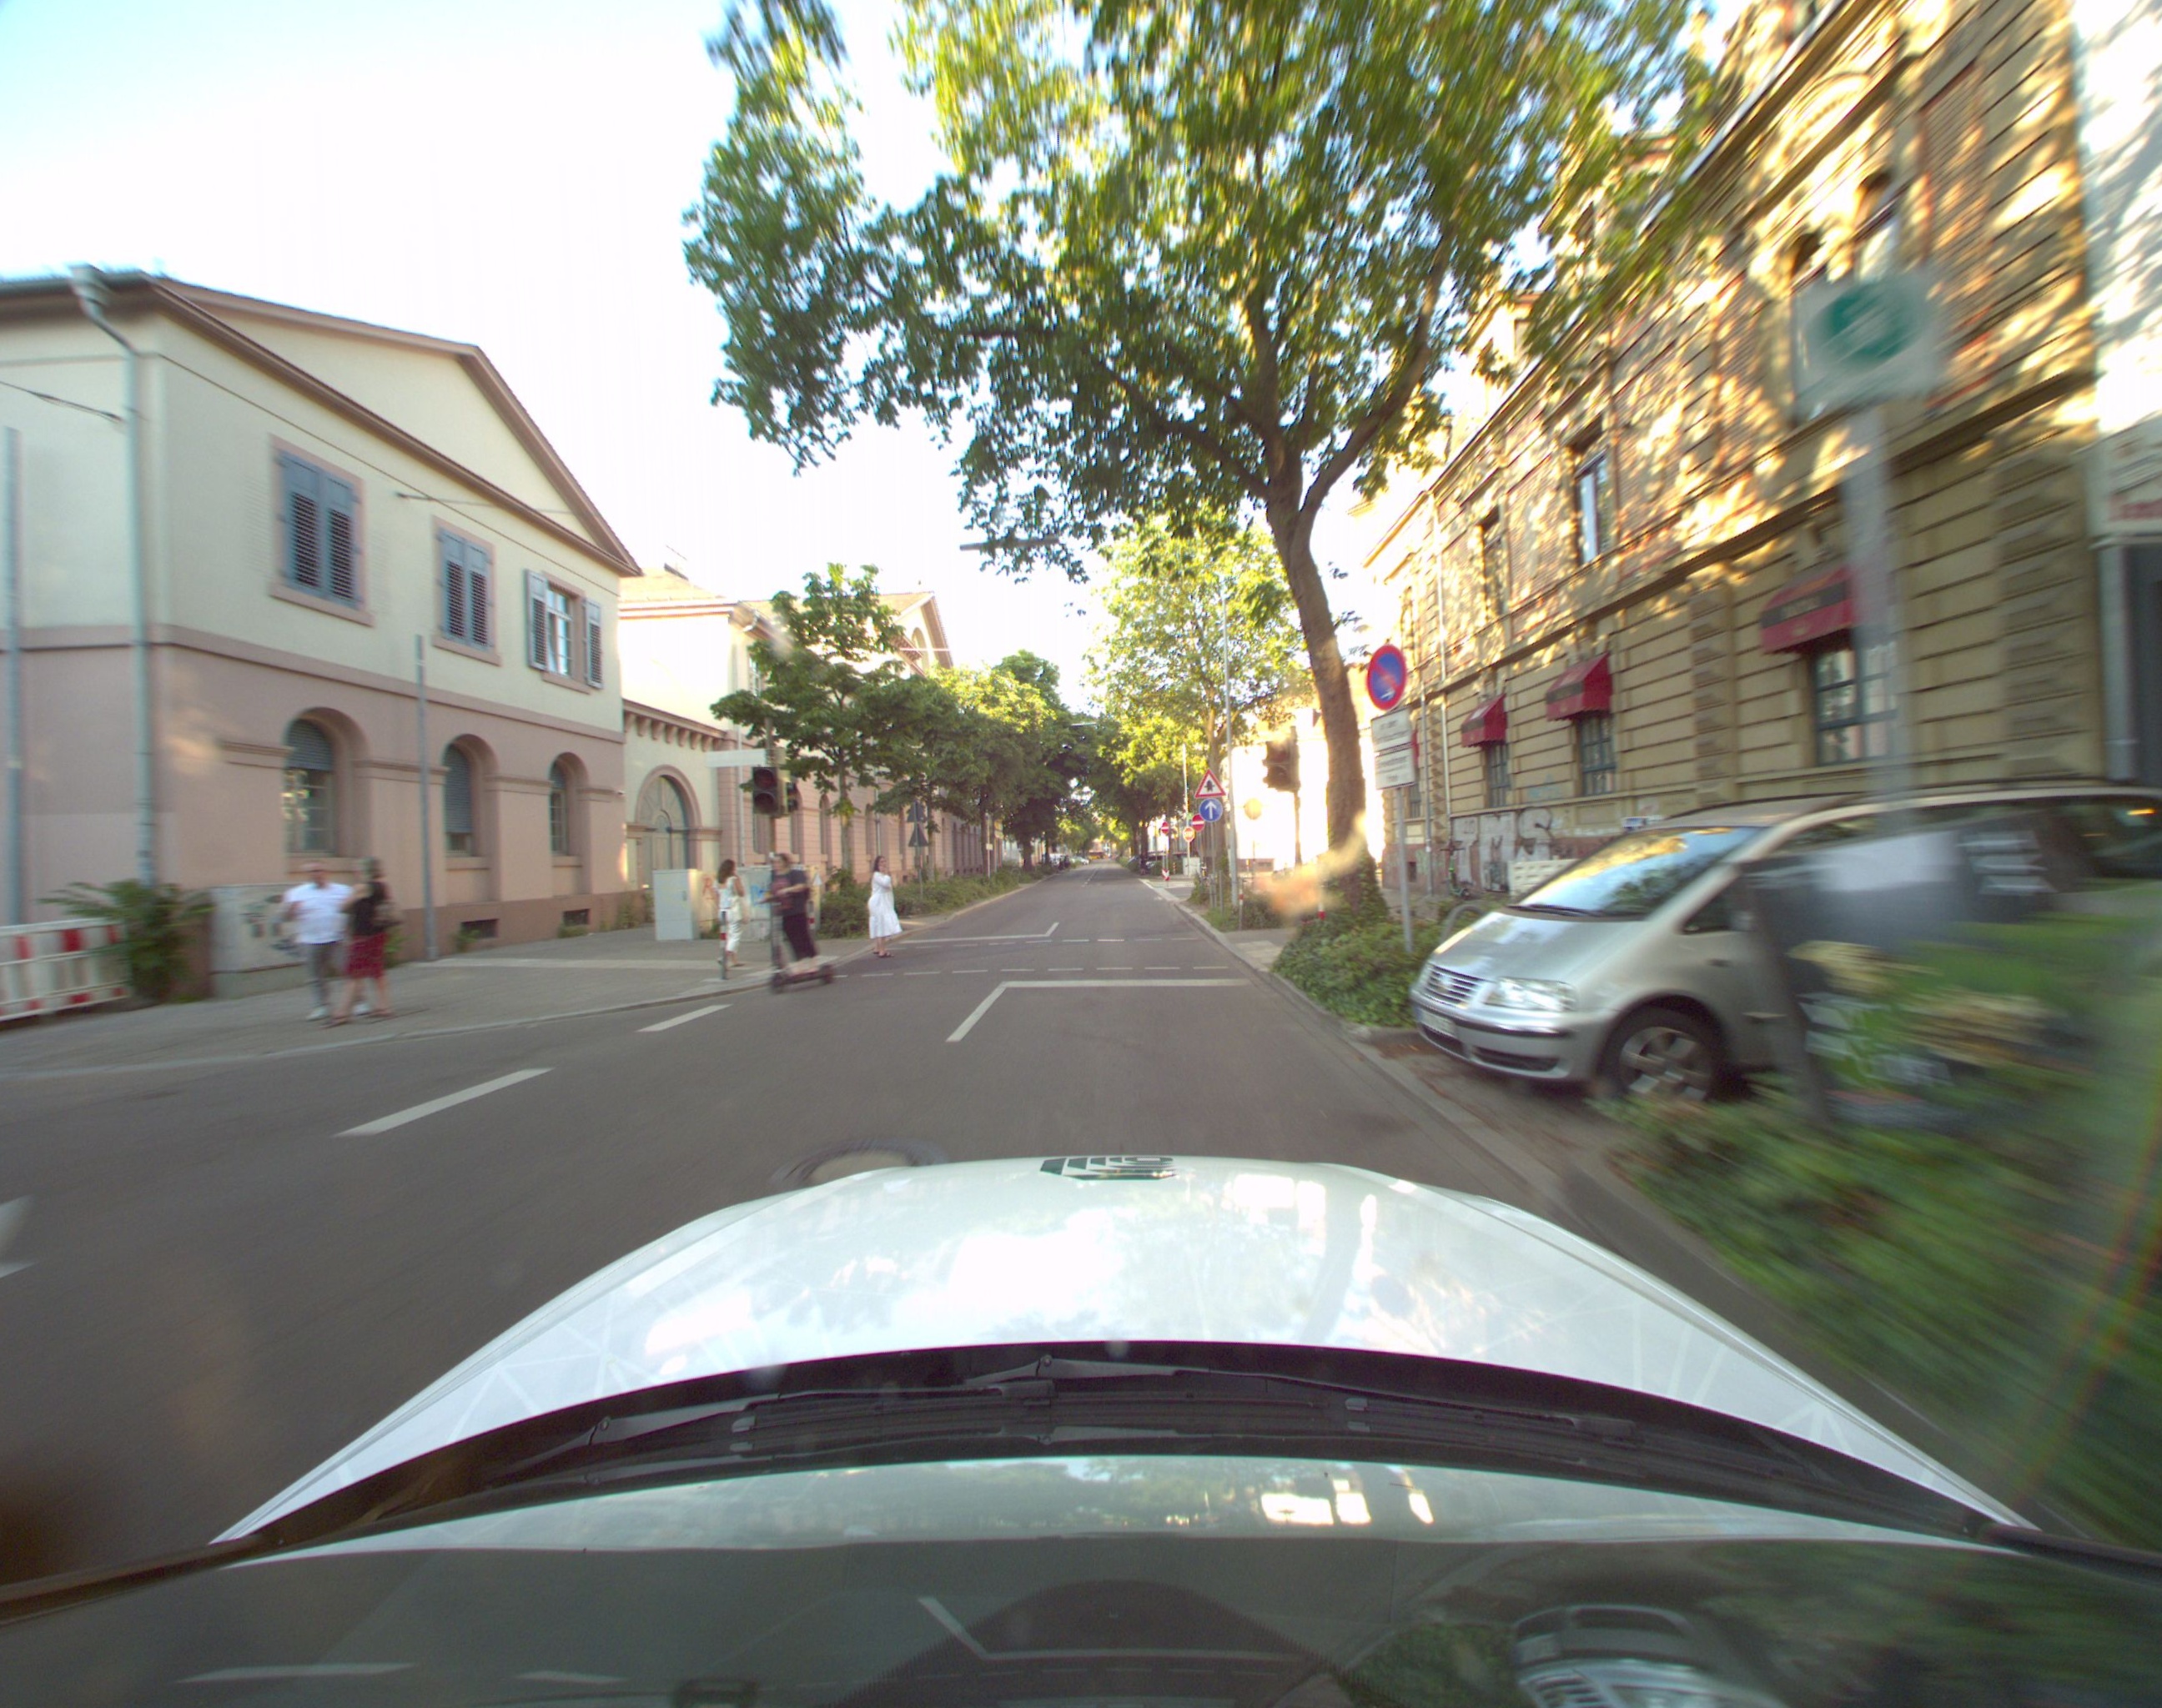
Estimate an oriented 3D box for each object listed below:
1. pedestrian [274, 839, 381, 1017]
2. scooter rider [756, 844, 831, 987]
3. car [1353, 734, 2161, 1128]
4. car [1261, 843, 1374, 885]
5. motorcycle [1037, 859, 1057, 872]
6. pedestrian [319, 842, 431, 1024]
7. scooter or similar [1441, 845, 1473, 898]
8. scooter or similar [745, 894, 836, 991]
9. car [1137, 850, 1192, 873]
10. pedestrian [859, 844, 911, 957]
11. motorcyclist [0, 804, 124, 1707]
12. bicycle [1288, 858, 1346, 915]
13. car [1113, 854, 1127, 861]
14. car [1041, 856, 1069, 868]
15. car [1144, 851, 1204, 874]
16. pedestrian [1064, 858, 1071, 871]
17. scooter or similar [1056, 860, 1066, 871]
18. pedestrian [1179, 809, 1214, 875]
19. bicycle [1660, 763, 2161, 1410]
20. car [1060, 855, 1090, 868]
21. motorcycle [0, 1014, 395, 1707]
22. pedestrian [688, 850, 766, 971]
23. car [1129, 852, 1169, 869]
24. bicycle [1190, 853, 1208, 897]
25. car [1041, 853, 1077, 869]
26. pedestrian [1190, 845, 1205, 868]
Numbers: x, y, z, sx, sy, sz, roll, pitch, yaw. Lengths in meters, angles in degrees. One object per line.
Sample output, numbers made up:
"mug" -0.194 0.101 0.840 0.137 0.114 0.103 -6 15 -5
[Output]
"pedestrian" -8.192 0.780 8.871 0.550 1.850 0.614 -2 0 16
"scooter rider" -3.773 0.778 10.740 0.491 1.791 0.877 -2 0 12
"car" 4.406 0.385 5.351 4.526 1.914 1.950 -3 0 -1
"car" 10.272 0.431 35.567 4.327 1.654 1.884 -2 0 -2
"motorcycle" -3.450 1.145 82.894 1.912 1.258 0.591 -2 0 1
"pedestrian" -7.527 0.818 8.703 0.550 1.850 0.614 -2 1 16
"scooter or similar" 8.648 0.384 18.743 0.250 1.194 1.093 -2 0 3
"scooter or similar" -3.775 1.126 10.664 0.498 1.145 1.254 -2 -1 12
"car" 6.523 0.597 63.925 4.177 1.480 1.853 -4 0 1
"pedestrian" -3.428 0.796 14.269 0.768 1.888 0.790 -2 0 -10
"motorcyclist" -2.544 0.730 1.062 1.275 1.592 1.078 -2 0 2
"bicycle" 5.136 0.672 17.863 0.522 1.152 2.247 -2 0 -2
"car" 11.951 1.133 250.171 3.963 1.838 2.005 -2 0 9
"car" -3.558 1.066 112.715 3.716 1.508 1.872 -3 0 -2
"car" 6.689 0.598 58.829 4.094 1.490 1.850 -2 1 0
"pedestrian" -1.410 1.098 86.419 0.652 1.395 0.607 -1 -1 1
"scooter or similar" -2.158 1.220 87.180 0.891 1.089 0.847 -1 0 7
"pedestrian" 3.866 -0.396 27.321 1.039 2.146 1.064 -1 -1 2
"bicycle" 3.557 0.575 2.525 3.105 1.663 0.658 -1 0 -3
"car" -0.967 1.291 143.519 5.043 2.083 2.265 -3 0 3
"motorcycle" -2.520 0.990 0.957 1.307 1.090 2.398 -2 0 2
"pedestrian" -5.467 0.832 12.595 0.783 1.791 0.775 1 0 22
"car" 7.093 0.652 84.946 4.001 1.623 1.781 -3 0 0
"bicycle" 3.848 0.671 26.538 0.413 1.372 1.293 -3 0 13
"car" -3.205 0.991 118.106 5.046 2.083 2.264 -3 0 1
"pedestrian" 8.714 0.170 60.888 0.939 1.706 0.783 -2 1 3
